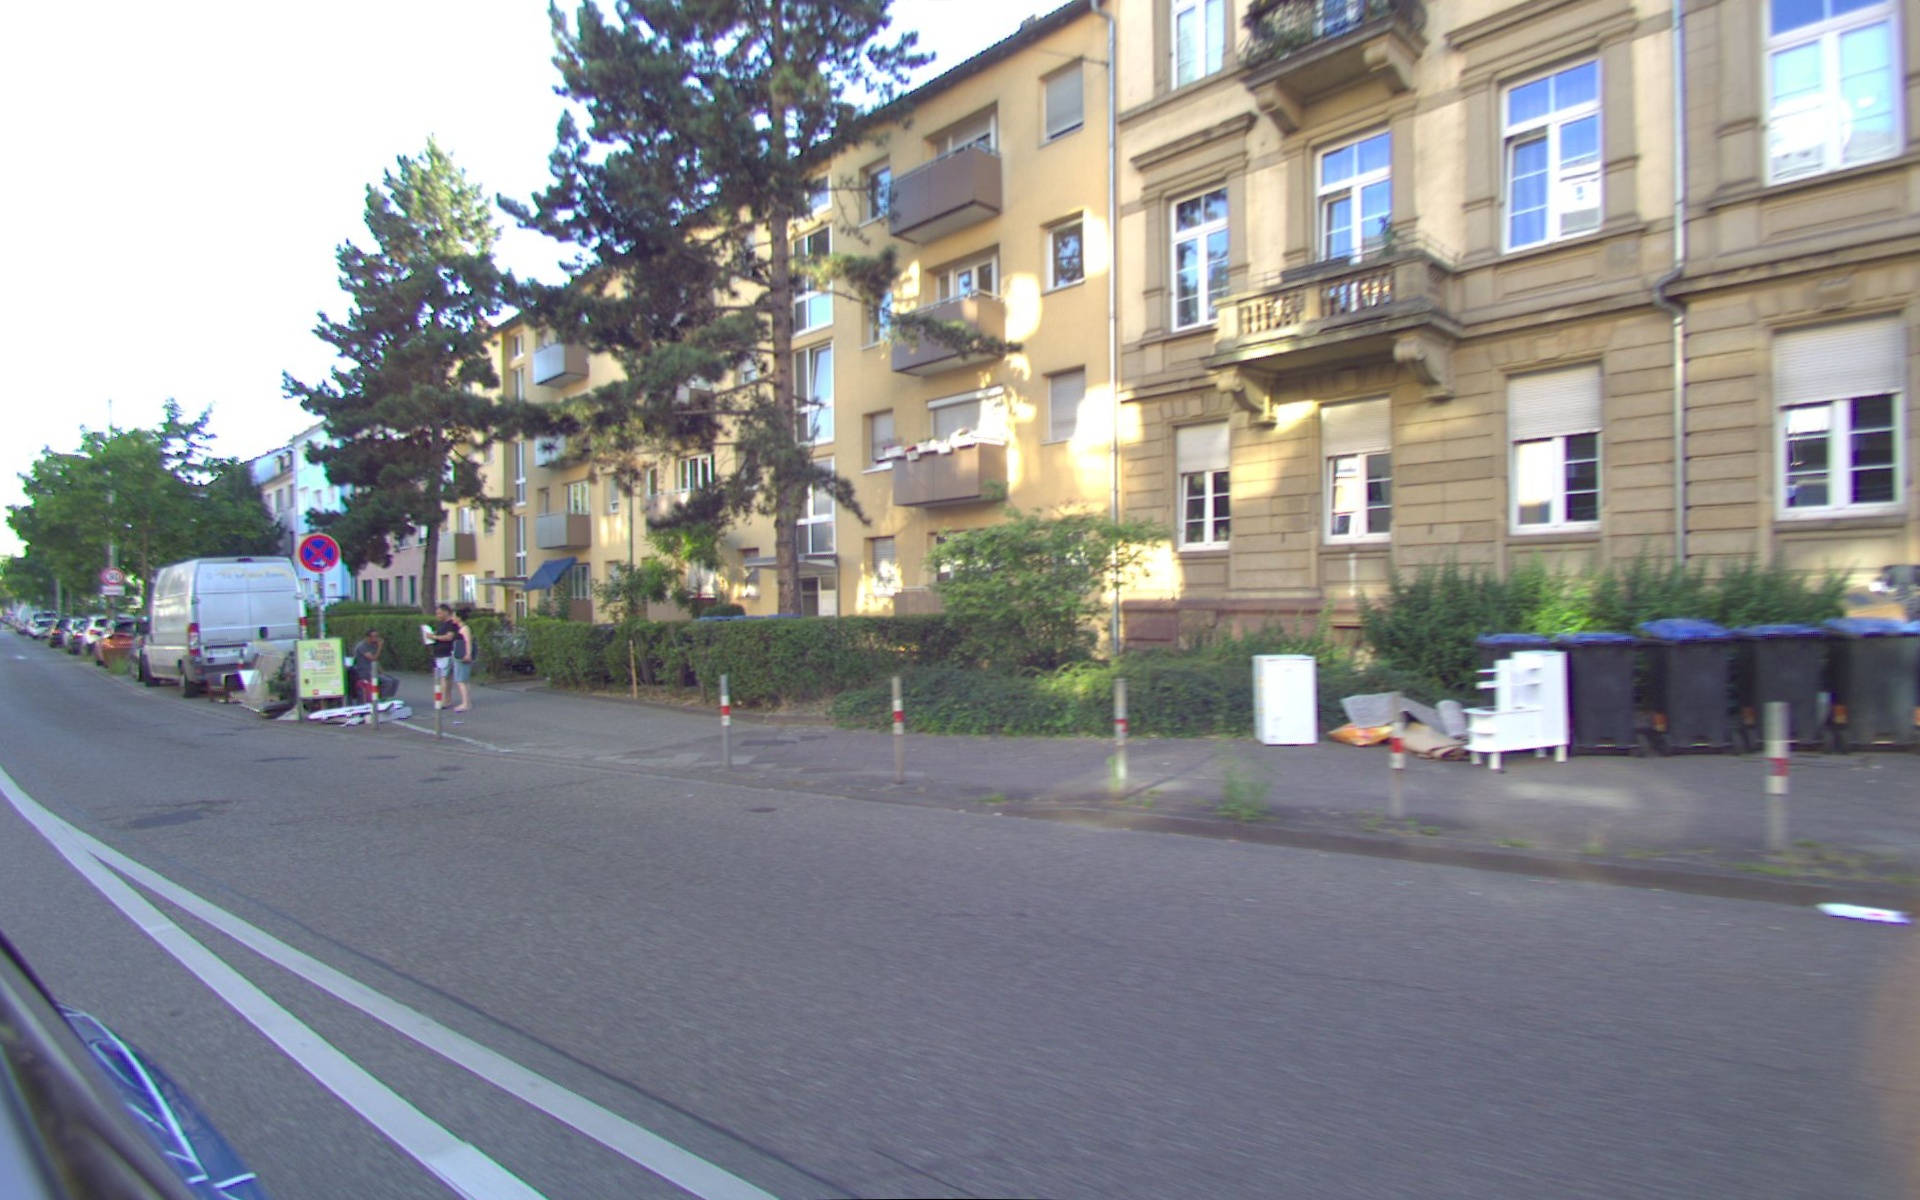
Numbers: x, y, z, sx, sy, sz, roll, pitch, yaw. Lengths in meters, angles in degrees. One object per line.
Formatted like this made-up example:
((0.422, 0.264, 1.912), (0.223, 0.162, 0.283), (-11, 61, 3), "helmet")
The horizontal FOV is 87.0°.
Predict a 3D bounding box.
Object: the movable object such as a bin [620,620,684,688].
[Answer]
((-5.224, 0.905, 17.181), (0.582, 1.058, 0.802), (-2, 2, 44), "movable object such as a bin")

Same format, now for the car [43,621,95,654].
((-46.031, 1.886, 52.237), (1.816, 1.529, 4.319), (-3, 1, -43), "car")

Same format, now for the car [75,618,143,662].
((-33.662, 1.550, 39.989), (1.756, 1.600, 4.189), (-2, 0, -44), "car")

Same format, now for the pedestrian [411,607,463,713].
((-8.494, 0.952, 16.424), (0.724, 1.664, 0.475), (-1, 0, 40), "pedestrian")

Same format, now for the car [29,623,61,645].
((-65.719, 2.427, 72.686), (1.660, 1.454, 3.885), (-3, 0, -43), "car")

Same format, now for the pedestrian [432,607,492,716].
((-7.879, 0.950, 16.017), (0.696, 1.664, 0.598), (-1, -1, 40), "pedestrian")

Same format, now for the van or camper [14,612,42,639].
((-92.082, 2.464, 99.993), (1.890, 2.562, 5.338), (-1, 0, -44), "van or camper")

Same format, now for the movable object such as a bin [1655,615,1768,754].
((6.494, 0.713, 8.776), (0.578, 1.119, 0.639), (-1, 2, 15), "movable object such as a bin")

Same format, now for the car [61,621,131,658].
((-37.199, 1.658, 43.519), (1.971, 1.459, 4.461), (0, -1, -45), "car")

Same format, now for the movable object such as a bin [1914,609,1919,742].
((8.296, 0.645, 8.201), (0.578, 1.119, 0.639), (-1, 2, 15), "movable object such as a bin")

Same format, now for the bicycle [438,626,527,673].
((-11.126, 1.139, 23.638), (1.764, 0.989, 0.590), (-2, 1, -44), "bicycle")

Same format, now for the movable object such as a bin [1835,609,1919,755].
((7.700, 0.653, 8.282), (0.578, 1.119, 0.639), (-1, 2, 15), "movable object such as a bin")

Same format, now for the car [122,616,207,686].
((-19.742, 1.211, 25.085), (1.387, 1.560, 2.764), (-3, 1, -43), "car")

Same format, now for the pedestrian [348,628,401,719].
((-9.308, 1.157, 16.088), (0.480, 1.388, 0.553), (-2, 1, 40), "pedestrian")

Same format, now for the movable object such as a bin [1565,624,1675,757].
((5.784, 0.775, 8.900), (0.622, 1.076, 0.639), (-1, 2, 15), "movable object such as a bin")

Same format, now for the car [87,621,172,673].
((-26.085, 1.438, 31.732), (1.697, 1.462, 3.925), (-2, 0, -44), "car")

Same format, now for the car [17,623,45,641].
((-82.493, 2.839, 89.894), (1.783, 1.509, 3.960), (-1, 0, -43), "car")

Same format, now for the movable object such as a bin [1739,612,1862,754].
((7.112, 0.686, 8.594), (0.578, 1.119, 0.639), (-1, 2, 15), "movable object such as a bin")

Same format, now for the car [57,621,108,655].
((-42.262, 1.811, 48.738), (1.573, 1.503, 3.644), (-2, 1, -45), "car")

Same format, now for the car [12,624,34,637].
((-110.121, 3.577, 118.955), (1.736, 1.459, 3.791), (-1, 0, -40), "car")

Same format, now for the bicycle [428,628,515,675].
((-11.650, 1.206, 24.177), (1.738, 0.989, 0.590), (-2, 1, -44), "bicycle")

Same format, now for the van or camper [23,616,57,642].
((-76.239, 2.390, 83.836), (4.866, 2.029, 1.784), (-1, 0, 45), "van or camper")

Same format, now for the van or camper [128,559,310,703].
((-16.155, 0.603, 21.895), (6.016, 2.683, 2.013), (-1, 2, 43), "van or camper")
